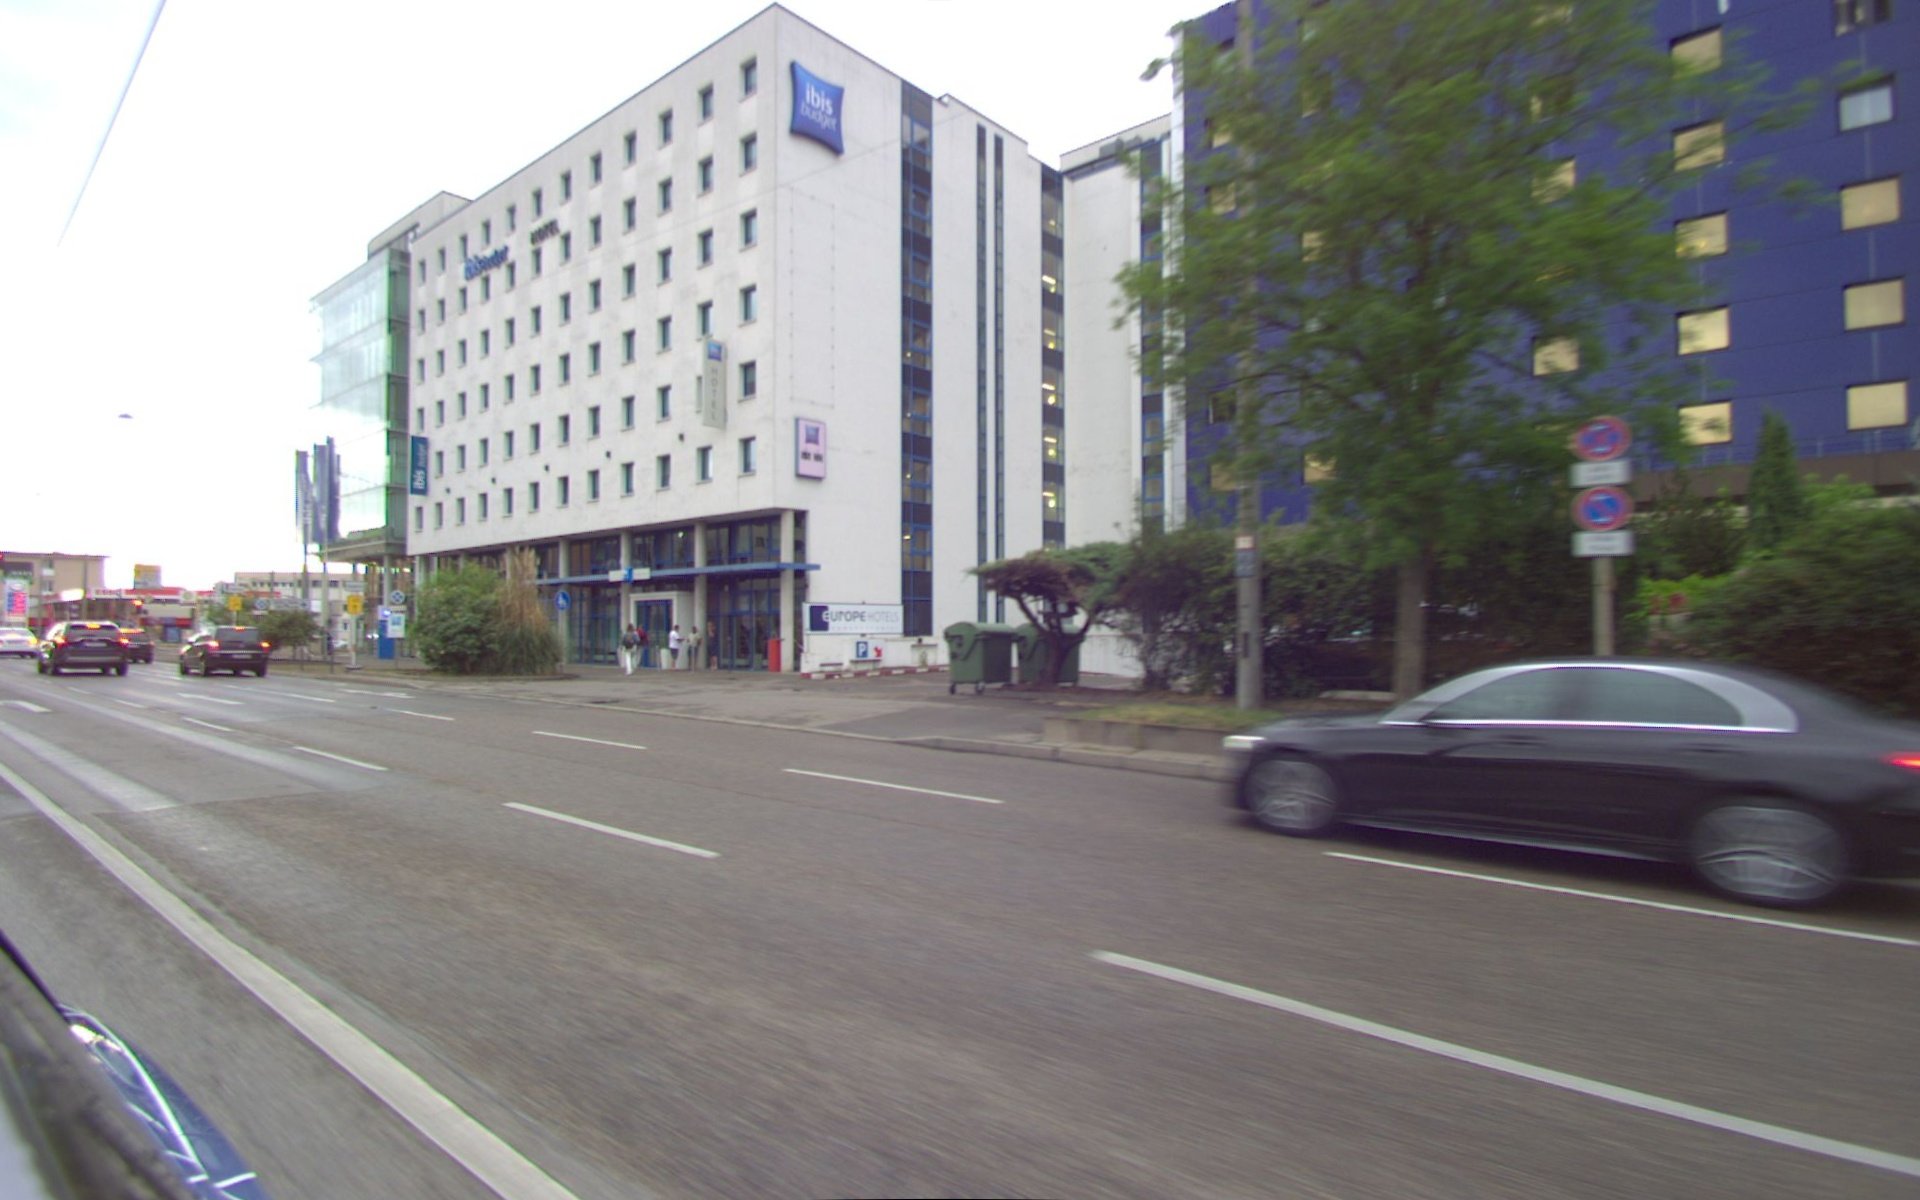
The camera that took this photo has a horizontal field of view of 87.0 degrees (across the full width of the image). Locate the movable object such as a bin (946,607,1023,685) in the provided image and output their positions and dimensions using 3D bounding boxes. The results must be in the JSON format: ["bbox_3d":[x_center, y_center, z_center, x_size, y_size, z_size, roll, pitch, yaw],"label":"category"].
[{"bbox_3d":[0.512,0.963,20.545,0.949,1.502,1.378,-4,-6,34],"label":"movable object such as a bin"}]

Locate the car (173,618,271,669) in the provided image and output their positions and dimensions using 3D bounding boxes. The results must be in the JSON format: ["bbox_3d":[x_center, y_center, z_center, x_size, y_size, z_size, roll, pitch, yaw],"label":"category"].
[{"bbox_3d":[-24.269,1.452,33.218,4.032,1.578,1.690,-2,-5,41],"label":"car"}]

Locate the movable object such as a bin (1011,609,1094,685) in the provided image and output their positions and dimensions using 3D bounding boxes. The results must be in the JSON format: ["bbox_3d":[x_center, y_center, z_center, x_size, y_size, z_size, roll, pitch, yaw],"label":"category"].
[{"bbox_3d":[1.922,0.975,21.008,1.372,1.502,0.953,5,-3,-38],"label":"movable object such as a bin"}]

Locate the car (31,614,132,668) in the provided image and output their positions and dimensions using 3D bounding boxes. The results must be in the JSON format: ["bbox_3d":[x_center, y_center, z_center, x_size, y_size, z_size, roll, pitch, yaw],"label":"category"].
[{"bbox_3d":[-27.997,1.361,32.210,4.447,1.568,1.738,-3,-6,40],"label":"car"}]

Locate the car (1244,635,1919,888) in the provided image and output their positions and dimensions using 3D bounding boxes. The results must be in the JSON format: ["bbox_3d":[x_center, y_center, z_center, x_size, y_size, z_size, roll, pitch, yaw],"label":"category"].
[{"bbox_3d":[4.410,0.940,7.061,4.445,1.334,1.603,-2,-4,42],"label":"car"}]

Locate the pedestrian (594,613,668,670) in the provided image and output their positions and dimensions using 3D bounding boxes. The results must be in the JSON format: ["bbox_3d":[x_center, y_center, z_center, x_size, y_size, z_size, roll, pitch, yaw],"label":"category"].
[{"bbox_3d":[-10.642,1.326,32.695,1.966,1.734,1.700,0,-2,-30],"label":"pedestrian"}]

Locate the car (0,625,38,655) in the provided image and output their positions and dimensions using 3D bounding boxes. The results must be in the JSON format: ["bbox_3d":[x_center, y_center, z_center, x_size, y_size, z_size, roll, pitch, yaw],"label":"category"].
[{"bbox_3d":[-45.758,1.896,48.412,4.960,1.397,1.798,-1,-3,41],"label":"car"}]

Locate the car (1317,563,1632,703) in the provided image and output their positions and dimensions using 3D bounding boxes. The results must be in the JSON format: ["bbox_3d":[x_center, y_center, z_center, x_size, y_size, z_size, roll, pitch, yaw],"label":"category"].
[{"bbox_3d":[8.436,0.504,16.806,4.314,2.029,1.817,1,-3,41],"label":"car"}]
